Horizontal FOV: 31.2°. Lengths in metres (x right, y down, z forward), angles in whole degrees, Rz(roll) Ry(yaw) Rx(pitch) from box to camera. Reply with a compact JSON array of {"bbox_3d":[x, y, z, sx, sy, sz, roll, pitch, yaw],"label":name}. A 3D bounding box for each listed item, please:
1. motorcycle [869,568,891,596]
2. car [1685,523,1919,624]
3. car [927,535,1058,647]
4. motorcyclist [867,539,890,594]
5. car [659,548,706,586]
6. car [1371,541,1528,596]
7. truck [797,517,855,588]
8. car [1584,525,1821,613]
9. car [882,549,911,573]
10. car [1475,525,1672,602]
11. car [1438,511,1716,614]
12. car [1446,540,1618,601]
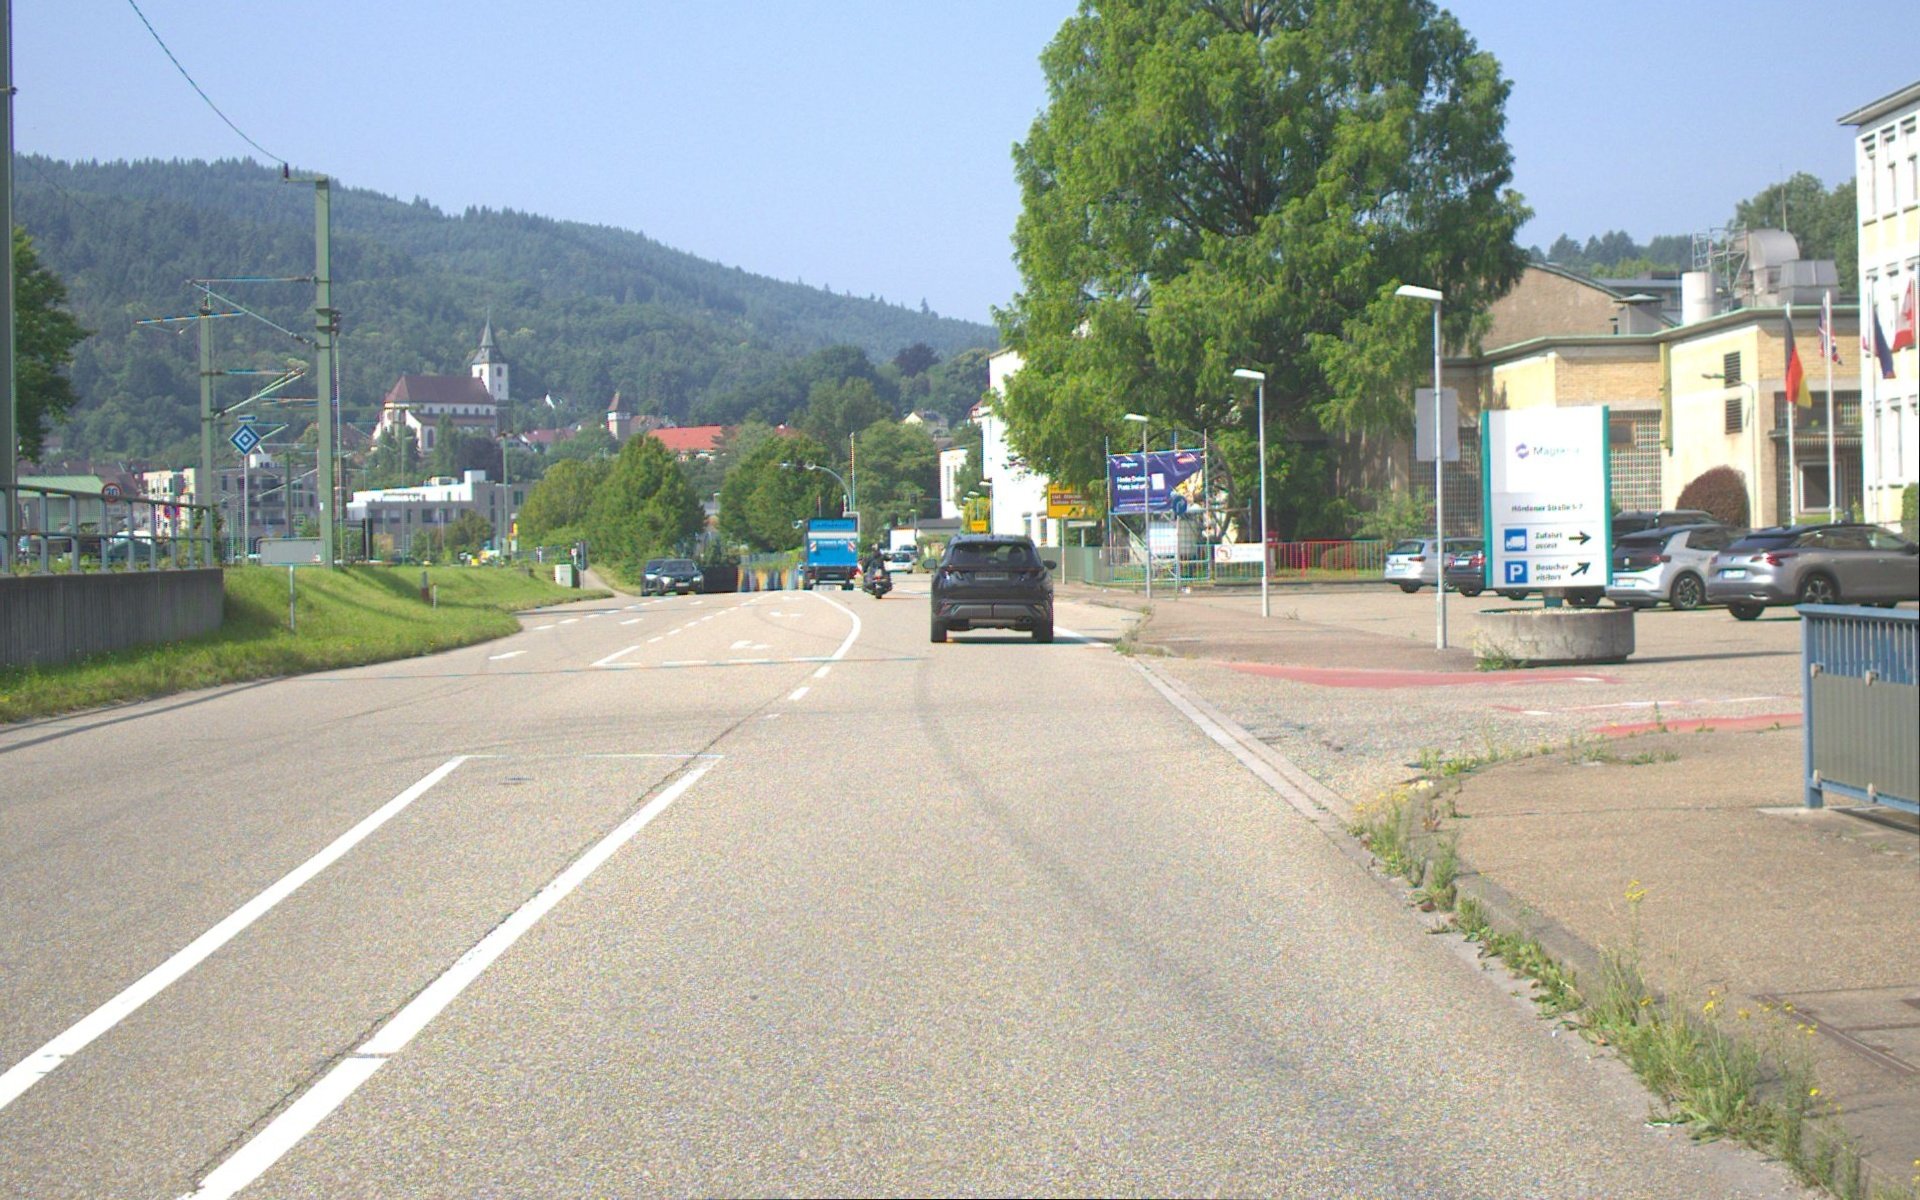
[{"bbox_3d":[-2.259,-0.516,96.811,0.606,0.751,1.415,-1,1,-1],"label":"motorcycle"},{"bbox_3d":[13.819,-0.434,54.590,4.297,1.499,1.886,-2,1,-29],"label":"car"},{"bbox_3d":[0.506,-0.156,53.058,1.919,1.634,4.000,-1,1,1],"label":"car"},{"bbox_3d":[-2.286,-0.949,96.805,0.606,1.515,0.863,-1,1,-1],"label":"motorcyclist"},{"bbox_3d":[-10.977,-1.313,136.237,1.755,1.424,4.001,-1,1,-4],"label":"car"},{"bbox_3d":[13.082,-0.840,91.784,3.987,1.396,1.664,-1,1,-32],"label":"car"},{"bbox_3d":[-5.801,-2.070,148.183,2.312,2.960,5.966,-1,1,-4],"label":"truck"},{"bbox_3d":[13.640,-0.574,63.133,3.987,1.499,1.886,-2,1,-29],"label":"car"},{"bbox_3d":[-4.097,-2.495,221.305,1.767,1.481,4.000,0,0,0],"label":"car"},{"bbox_3d":[13.952,-0.831,78.169,4.159,1.666,1.870,-1,1,-30],"label":"car"},{"bbox_3d":[11.666,-0.718,64.963,5.020,1.826,1.983,-2,1,-29],"label":"car"},{"bbox_3d":[13.893,-0.730,83.413,3.987,1.396,1.664,-1,1,-32],"label":"car"}]
